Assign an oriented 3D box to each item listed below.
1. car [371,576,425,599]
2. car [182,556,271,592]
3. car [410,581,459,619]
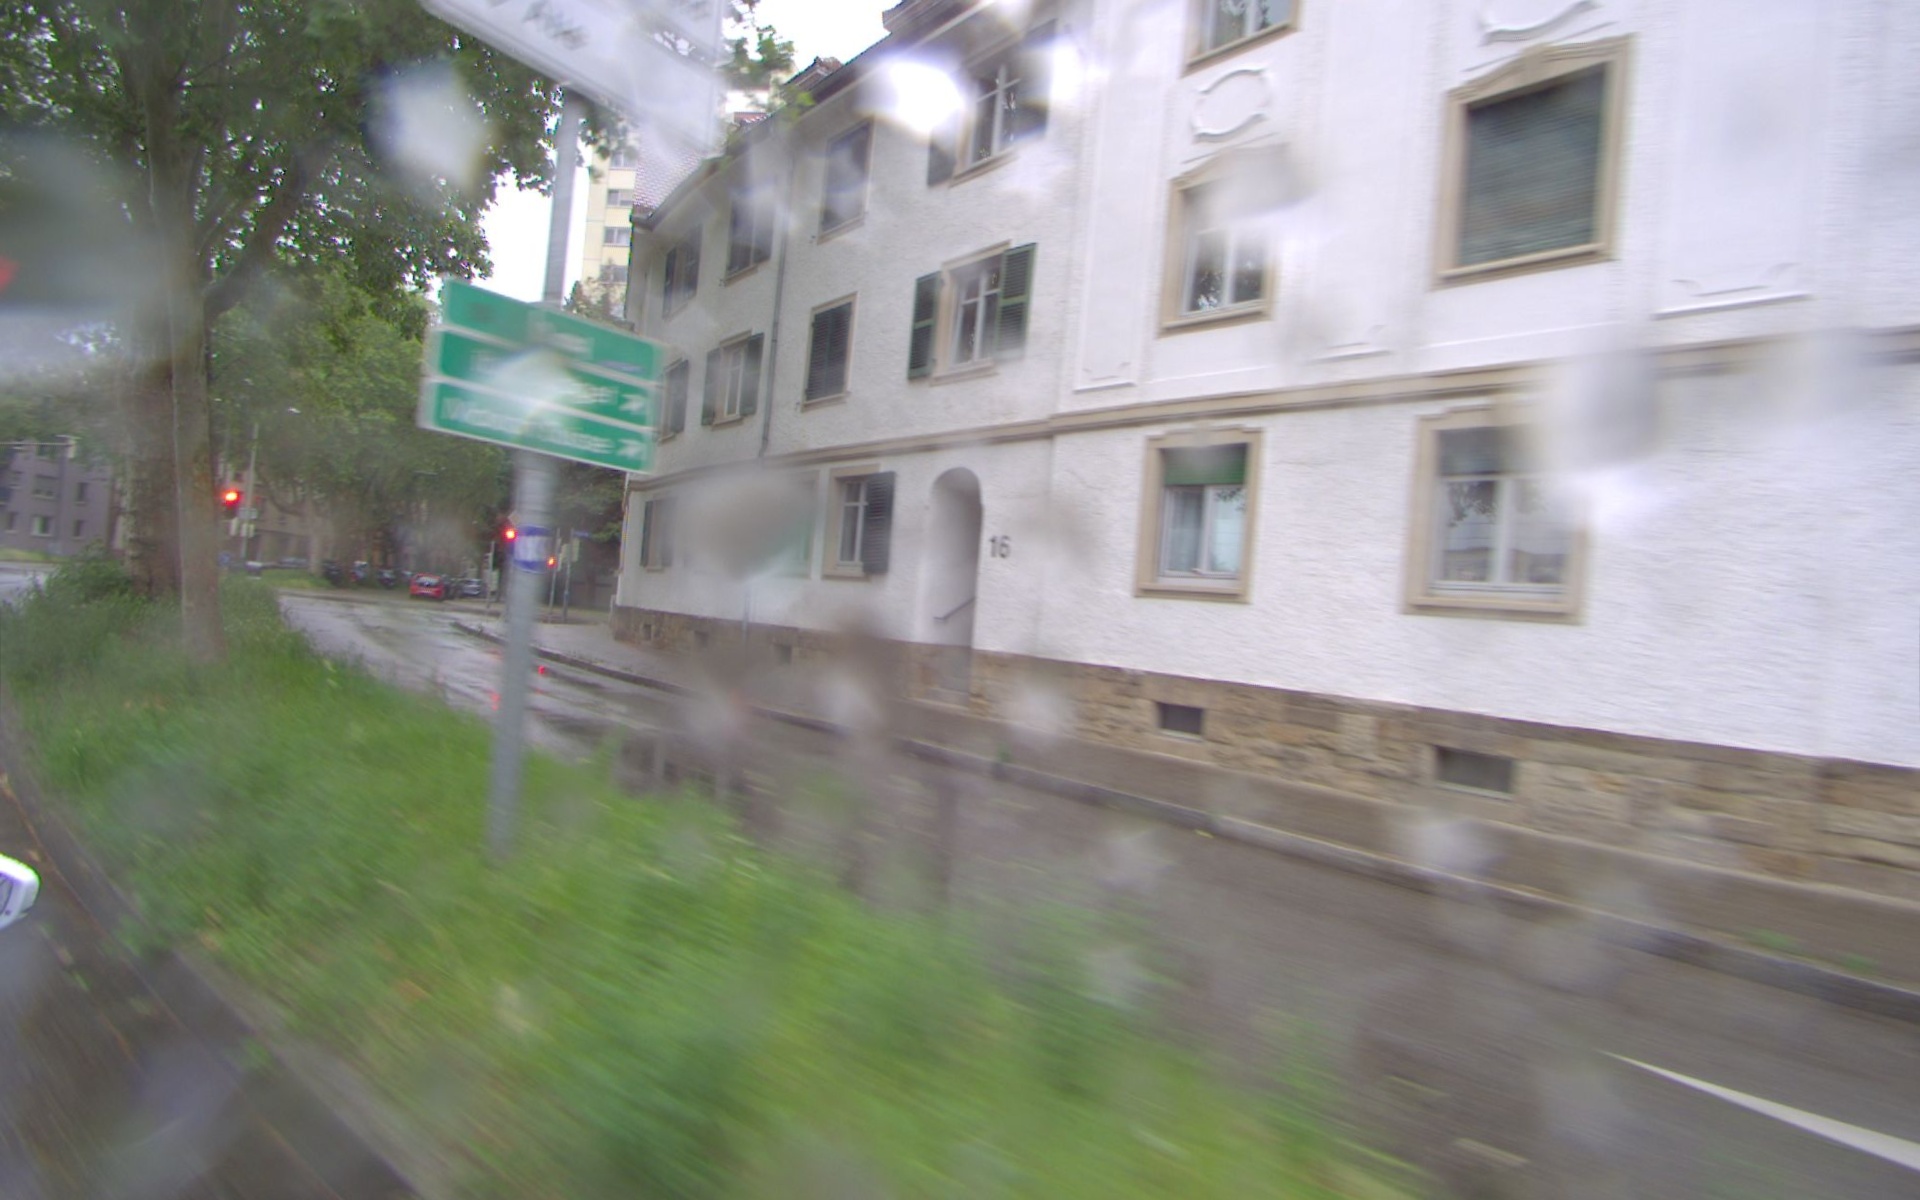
[{"bbox_3d":[-47.327,-1.028,84.738,3.553,1.638,1.680,4,0,-8],"label":"car"},{"bbox_3d":[-37.618,-1.327,51.687,3.446,1.542,1.510,4,0,-27],"label":"car"},{"bbox_3d":[-31.484,-0.008,60.410,1.970,2.039,3.984,3,0,-20],"label":"car"}]
